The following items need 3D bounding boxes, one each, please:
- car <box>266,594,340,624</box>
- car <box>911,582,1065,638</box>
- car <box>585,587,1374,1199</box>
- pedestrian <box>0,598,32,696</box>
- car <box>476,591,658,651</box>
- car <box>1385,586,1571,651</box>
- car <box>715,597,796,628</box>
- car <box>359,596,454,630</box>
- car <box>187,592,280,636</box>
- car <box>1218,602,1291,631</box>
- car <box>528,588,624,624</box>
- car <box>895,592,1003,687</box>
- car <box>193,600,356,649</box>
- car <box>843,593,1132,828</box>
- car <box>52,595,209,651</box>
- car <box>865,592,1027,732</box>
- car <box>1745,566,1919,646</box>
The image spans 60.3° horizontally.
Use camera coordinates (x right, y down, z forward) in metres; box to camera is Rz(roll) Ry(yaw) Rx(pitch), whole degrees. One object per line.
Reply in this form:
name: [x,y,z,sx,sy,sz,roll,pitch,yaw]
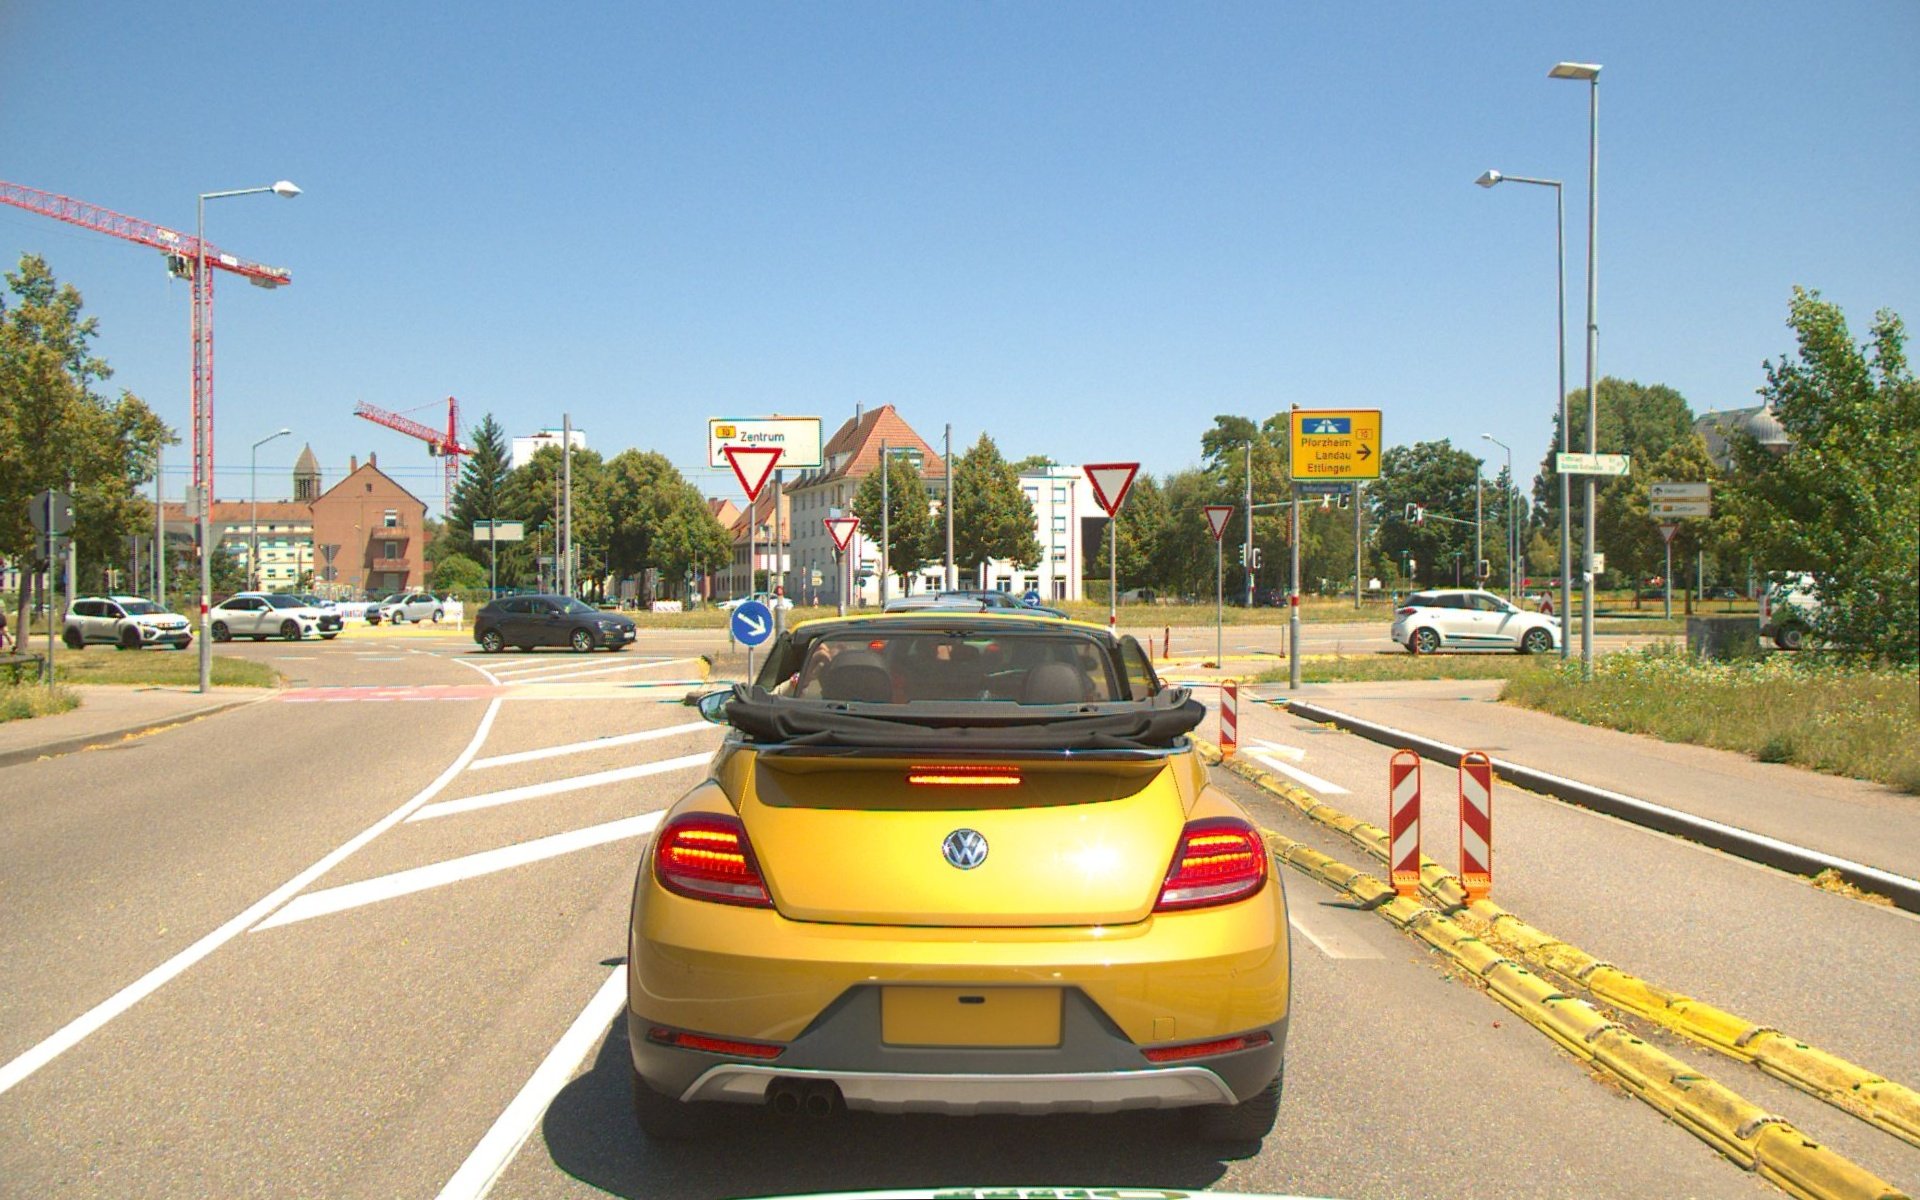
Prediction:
car: [-27.840,0.367,70.191,1.672,1.258,3.786,0,0,-1]
car: [0.804,0.258,44.951,4.099,1.467,2.001,0,0,3]
car: [0.014,0.698,5.501,1.717,1.447,3.776,0,0,-1]
pedestrian: [-15.984,0.769,27.286,0.856,1.590,0.811,0,0,22]
car: [-10.105,0.520,42.554,4.116,1.467,2.001,0,0,19]
car: [12.061,0.416,38.708,3.922,1.470,1.634,0,0,8]
car: [-12.712,0.777,102.726,4.631,1.860,1.976,0,0,-35]
car: [-26.293,0.604,78.701,1.676,1.526,4.210,0,0,32]
car: [-27.032,0.504,61.664,1.720,1.576,3.999,0,0,-1]
car: [18.497,1.043,103.872,4.129,1.701,1.936,-1,0,44]
car: [-21.235,0.321,91.515,1.992,1.817,4.897,-1,0,44]
car: [-0.200,0.628,28.199,1.701,1.503,3.999,0,0,-1]
car: [-22.621,0.796,54.583,4.887,1.536,2.001,0,0,19]
car: [0.147,0.692,12.389,1.810,1.467,3.999,0,0,-1]
car: [-24.937,0.661,49.706,4.487,1.593,1.997,0,0,28]
car: [-0.171,0.652,19.387,1.701,1.467,3.999,0,0,-1]
car: [21.925,0.129,40.232,4.866,1.882,2.001,0,0,18]
